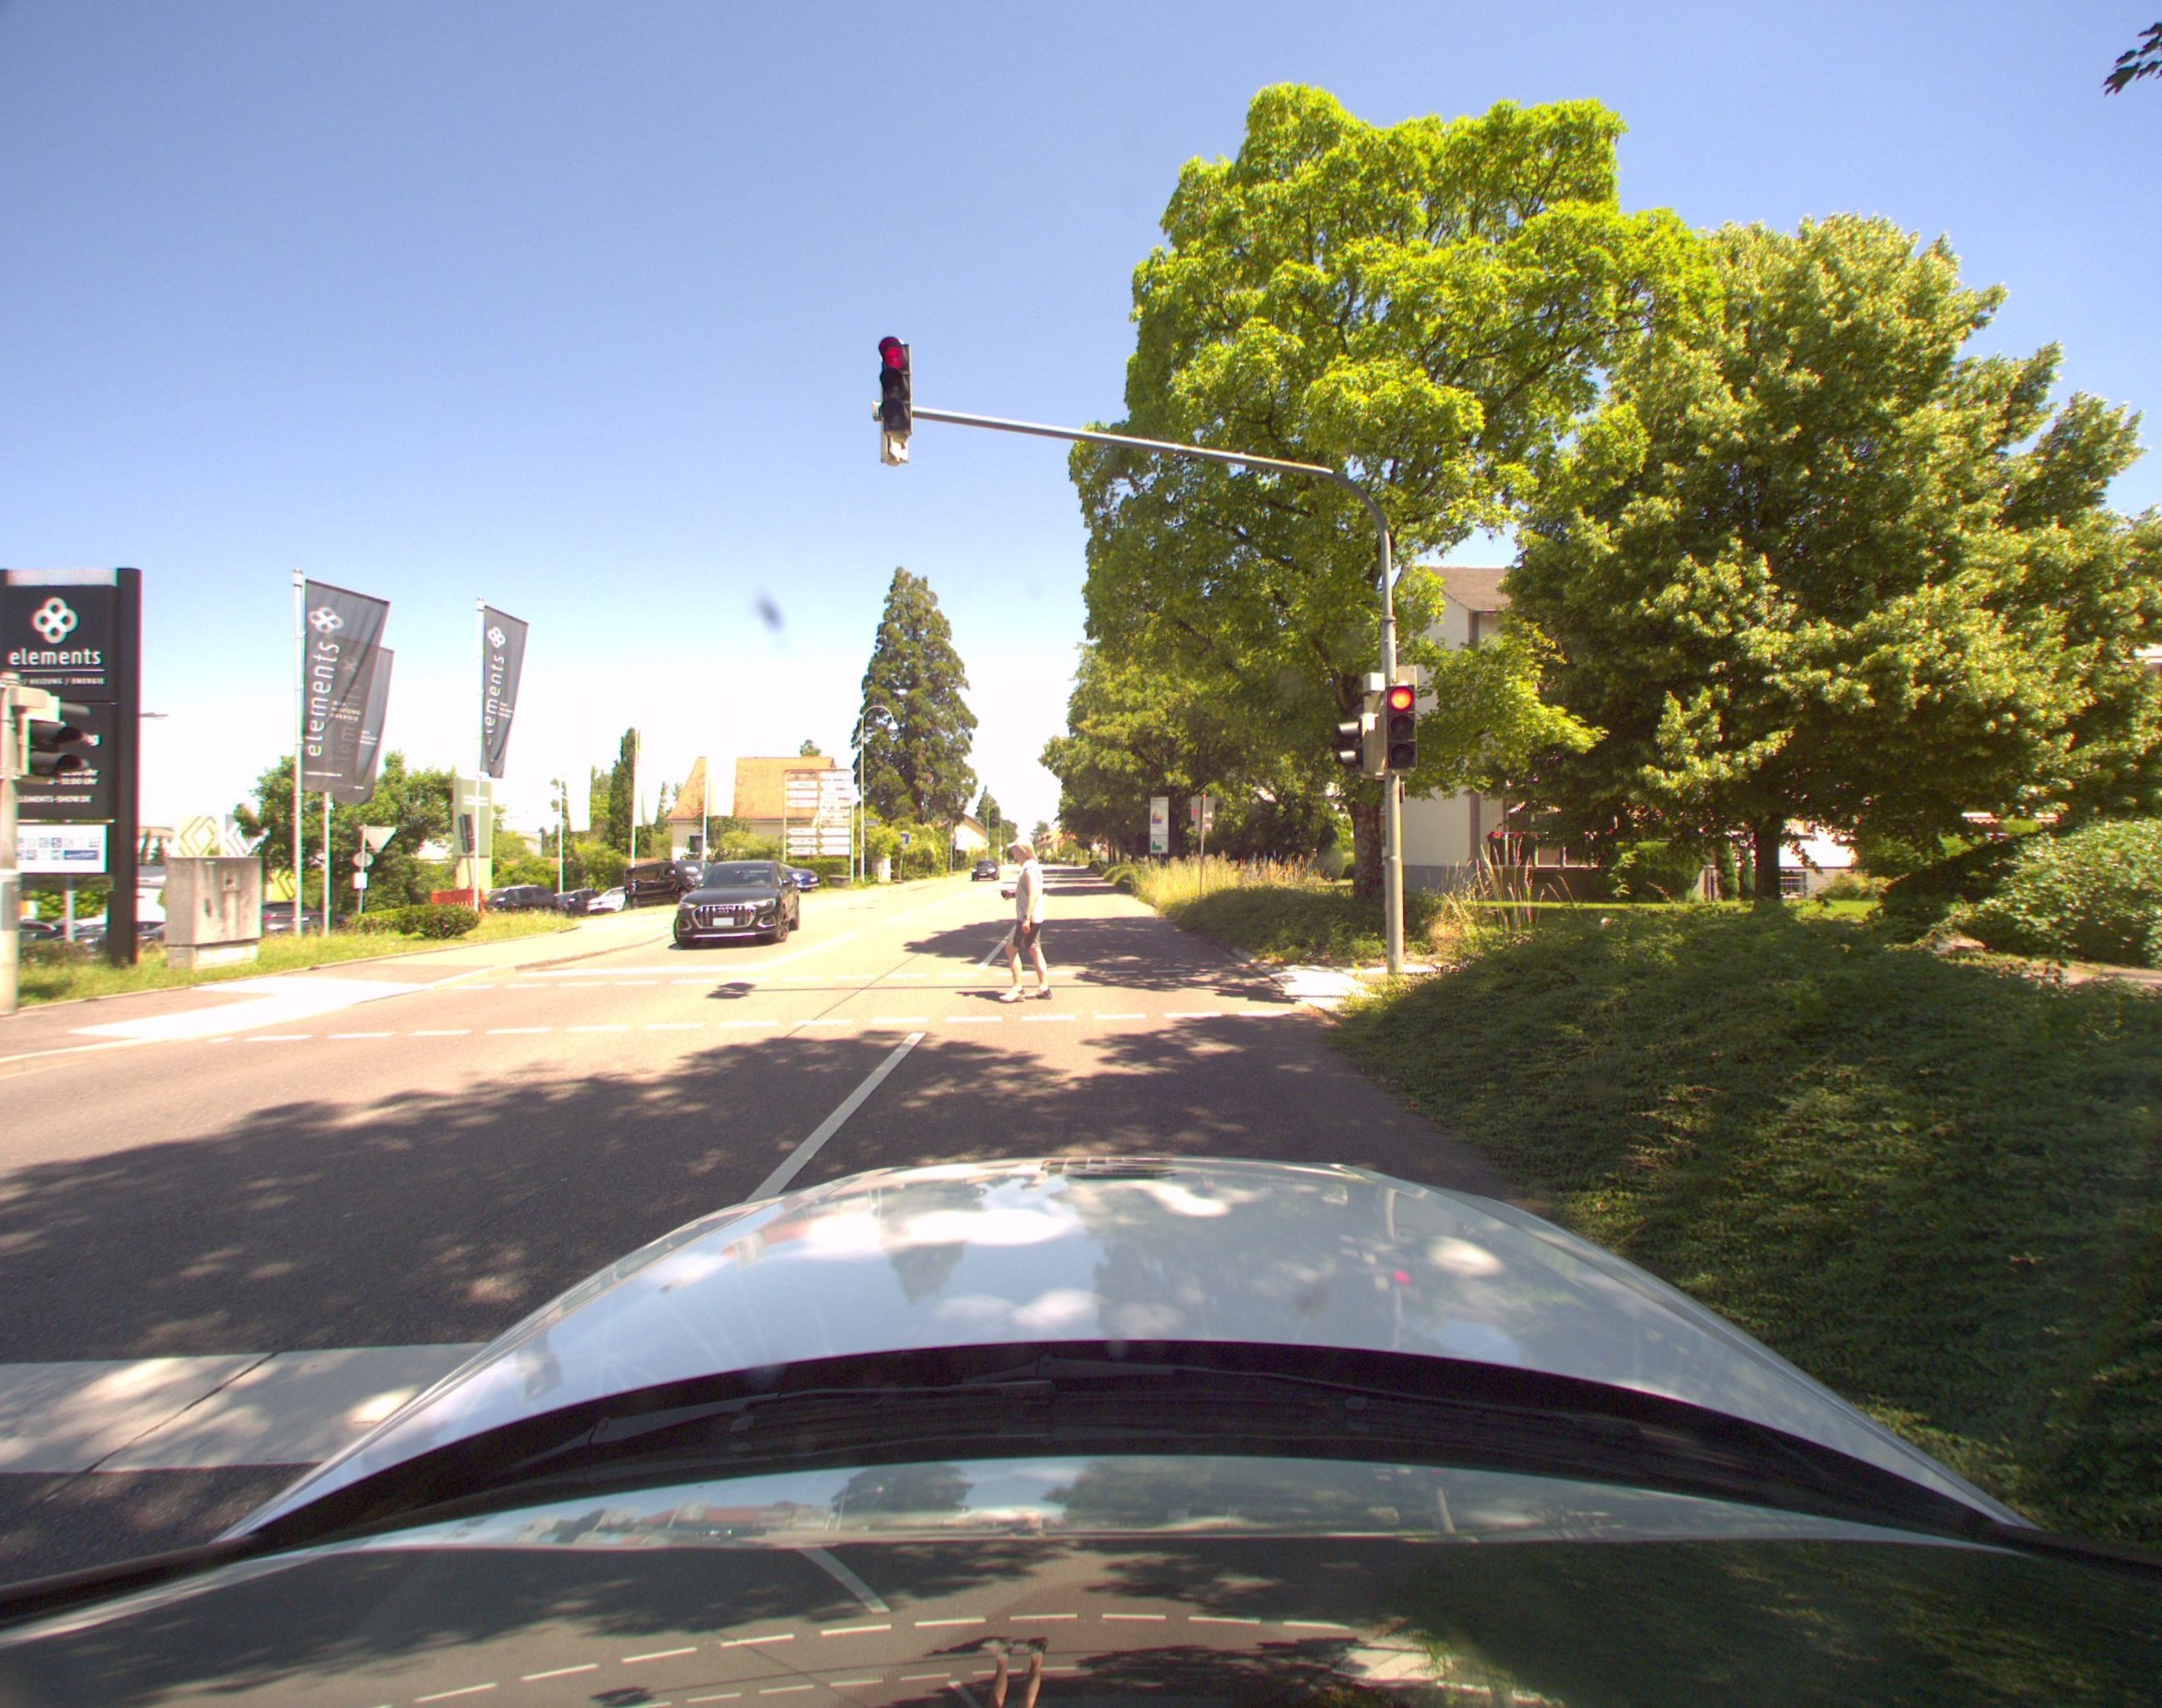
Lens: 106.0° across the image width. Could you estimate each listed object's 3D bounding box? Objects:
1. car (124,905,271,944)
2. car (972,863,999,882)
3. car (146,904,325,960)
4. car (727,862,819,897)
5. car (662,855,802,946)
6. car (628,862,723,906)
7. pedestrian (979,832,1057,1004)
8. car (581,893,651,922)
[{"bbox_3d":[-35.443,2.813,32.750,3.973,1.413,1.756,0,-1,0],"label":"car"},{"bbox_3d":[-6.783,1.331,58.322,1.426,1.322,3.356,0,-1,2],"label":"car"},{"bbox_3d":[-29.034,2.665,28.052,4.277,1.718,1.887,-1,0,3],"label":"car"},{"bbox_3d":[-13.659,1.122,36.282,3.486,1.427,1.597,-1,0,-6],"label":"car"},{"bbox_3d":[-6.888,0.874,16.527,1.925,1.526,4.285,-2,-1,-15],"label":"car"},{"bbox_3d":[-16.536,1.212,33.349,3.144,1.714,1.569,0,-1,-9],"label":"car"},{"bbox_3d":[-0.673,0.658,8.702,0.607,1.751,0.565,-1,-1,31],"label":"pedestrian"},{"bbox_3d":[-23.216,2.645,40.780,1.743,1.226,3.240,0,0,-3],"label":"car"}]
